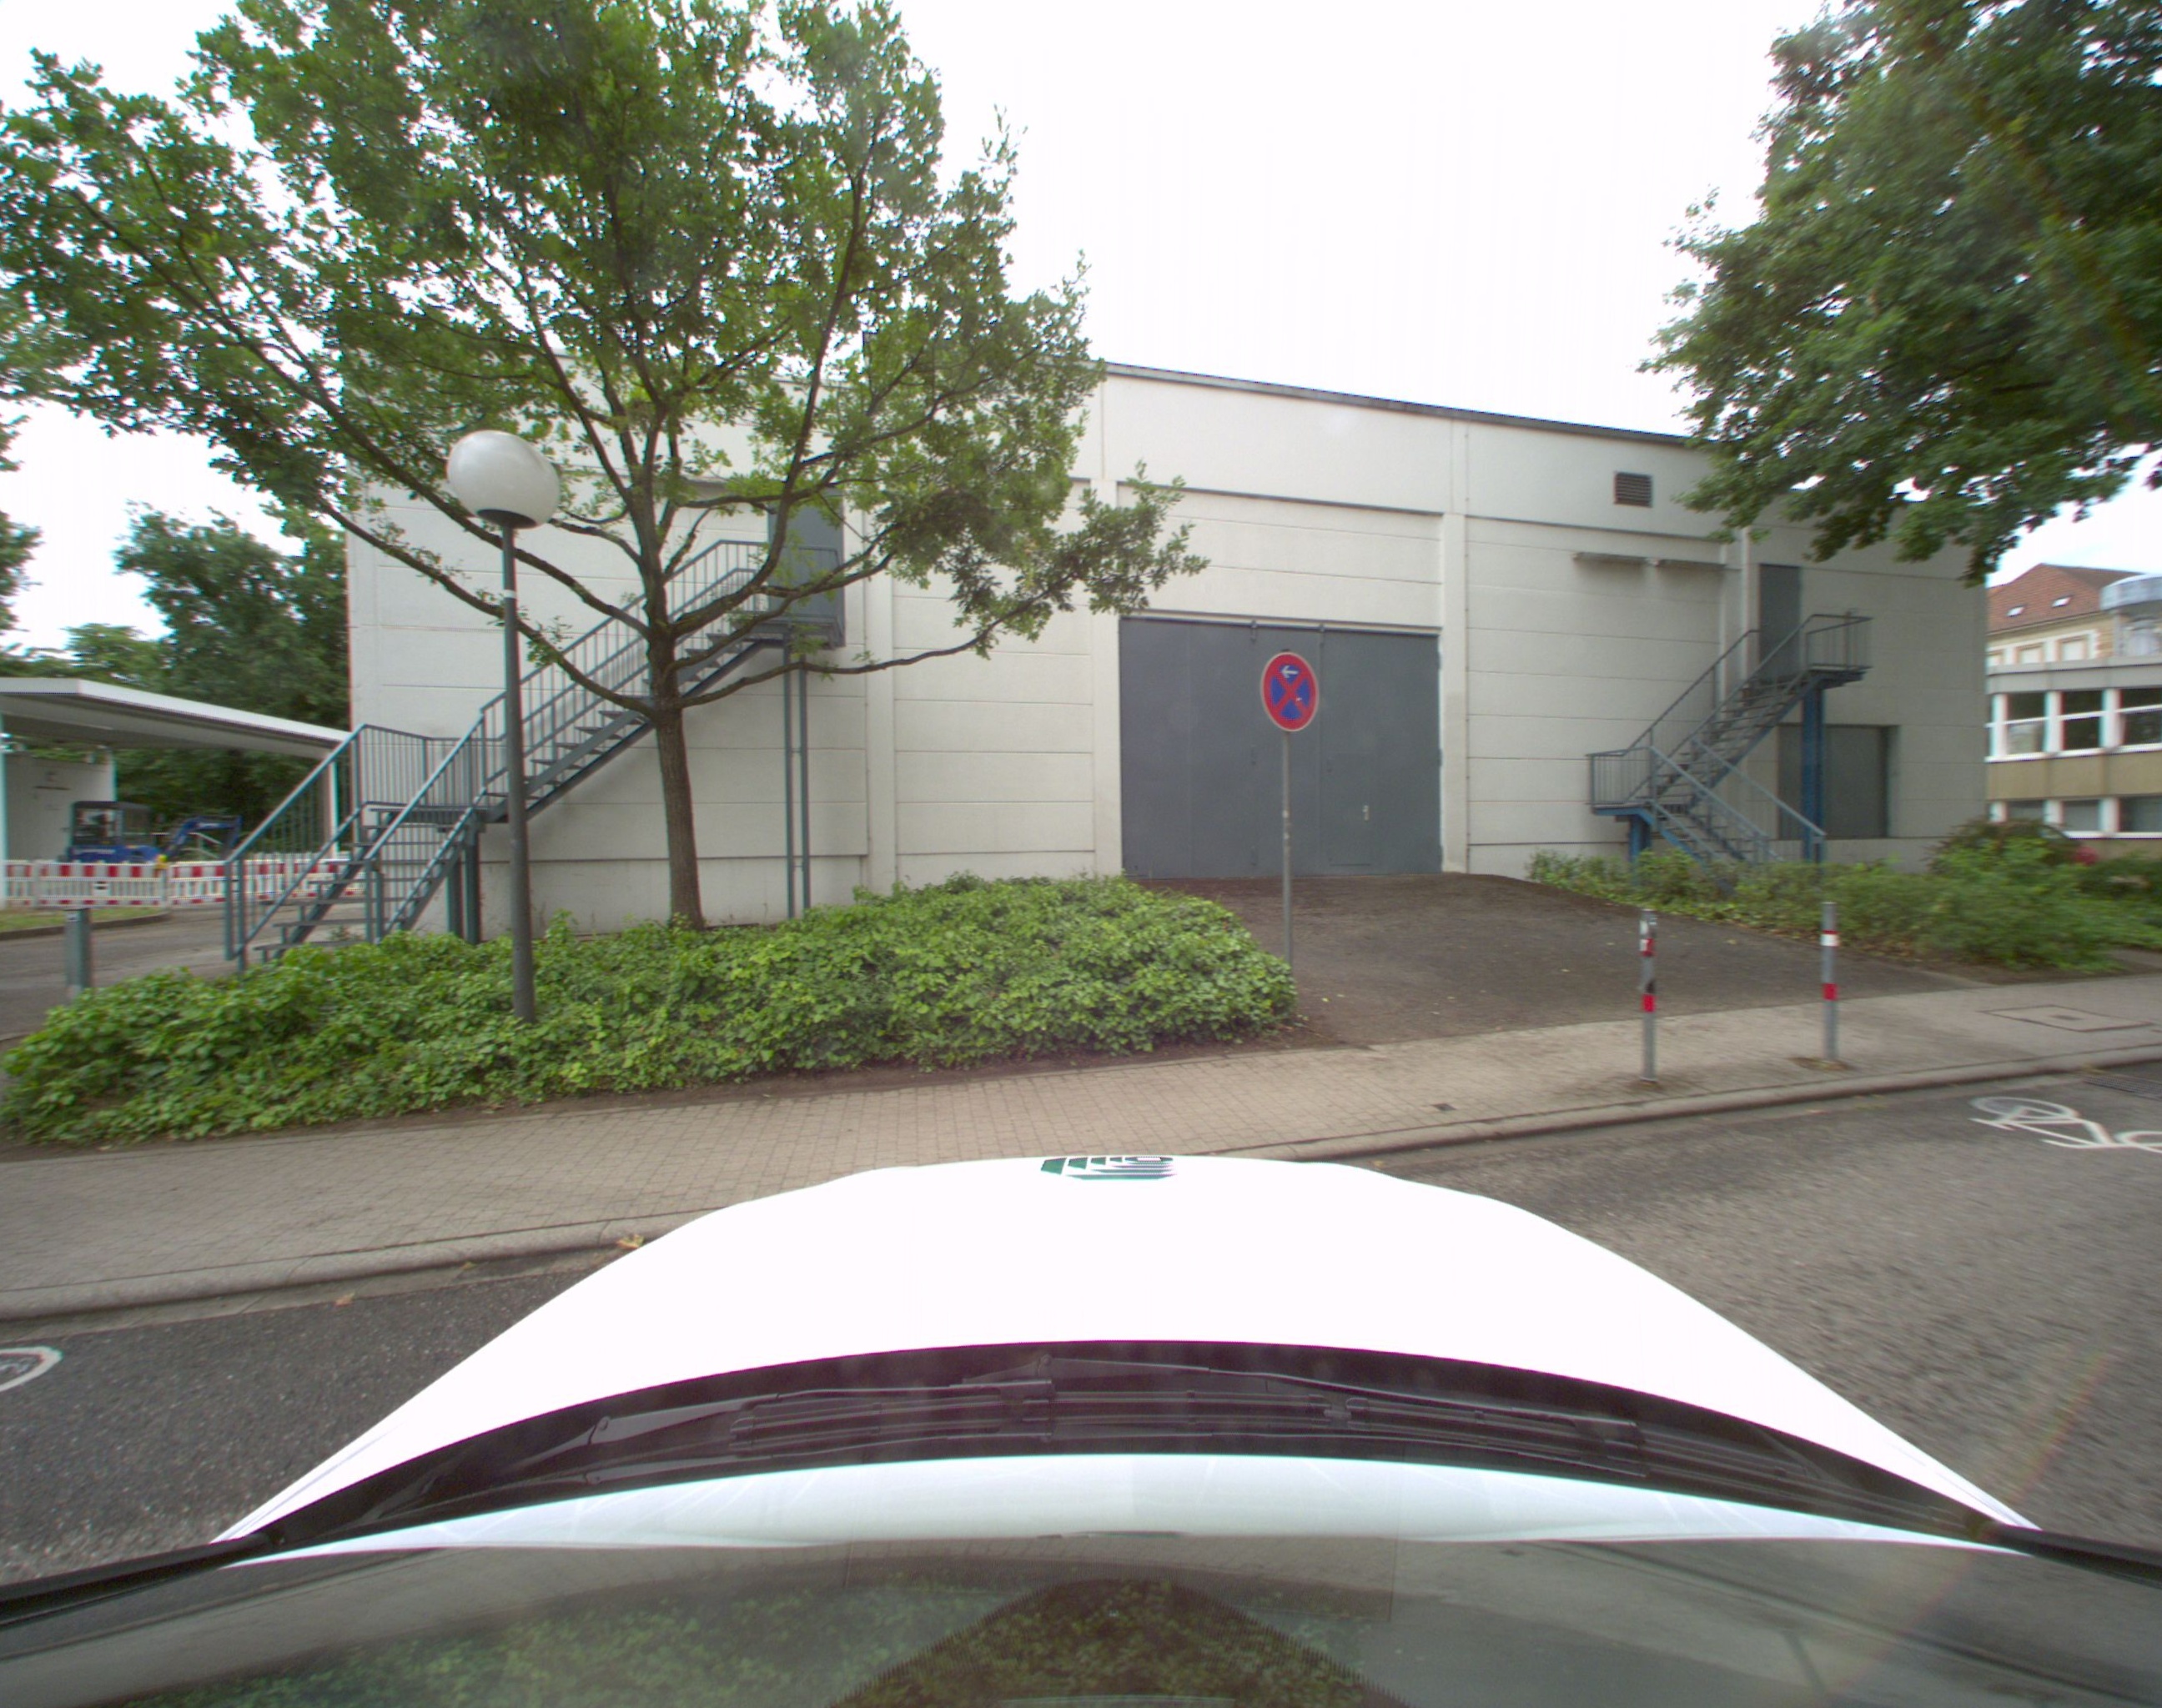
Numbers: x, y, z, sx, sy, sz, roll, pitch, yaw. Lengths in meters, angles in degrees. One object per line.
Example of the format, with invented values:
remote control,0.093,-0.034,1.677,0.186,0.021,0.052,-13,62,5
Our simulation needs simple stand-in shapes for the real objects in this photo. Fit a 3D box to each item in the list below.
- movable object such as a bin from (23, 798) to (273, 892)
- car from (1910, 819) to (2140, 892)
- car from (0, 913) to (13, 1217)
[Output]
movable object such as a bin,-23.879,-0.217,21.171,1.997,2.171,4.646,-1,0,-15
car,21.723,-0.014,18.797,3.992,1.530,1.861,-1,1,-14
car,-6.328,0.888,1.996,4.188,1.388,1.814,-1,2,-16
